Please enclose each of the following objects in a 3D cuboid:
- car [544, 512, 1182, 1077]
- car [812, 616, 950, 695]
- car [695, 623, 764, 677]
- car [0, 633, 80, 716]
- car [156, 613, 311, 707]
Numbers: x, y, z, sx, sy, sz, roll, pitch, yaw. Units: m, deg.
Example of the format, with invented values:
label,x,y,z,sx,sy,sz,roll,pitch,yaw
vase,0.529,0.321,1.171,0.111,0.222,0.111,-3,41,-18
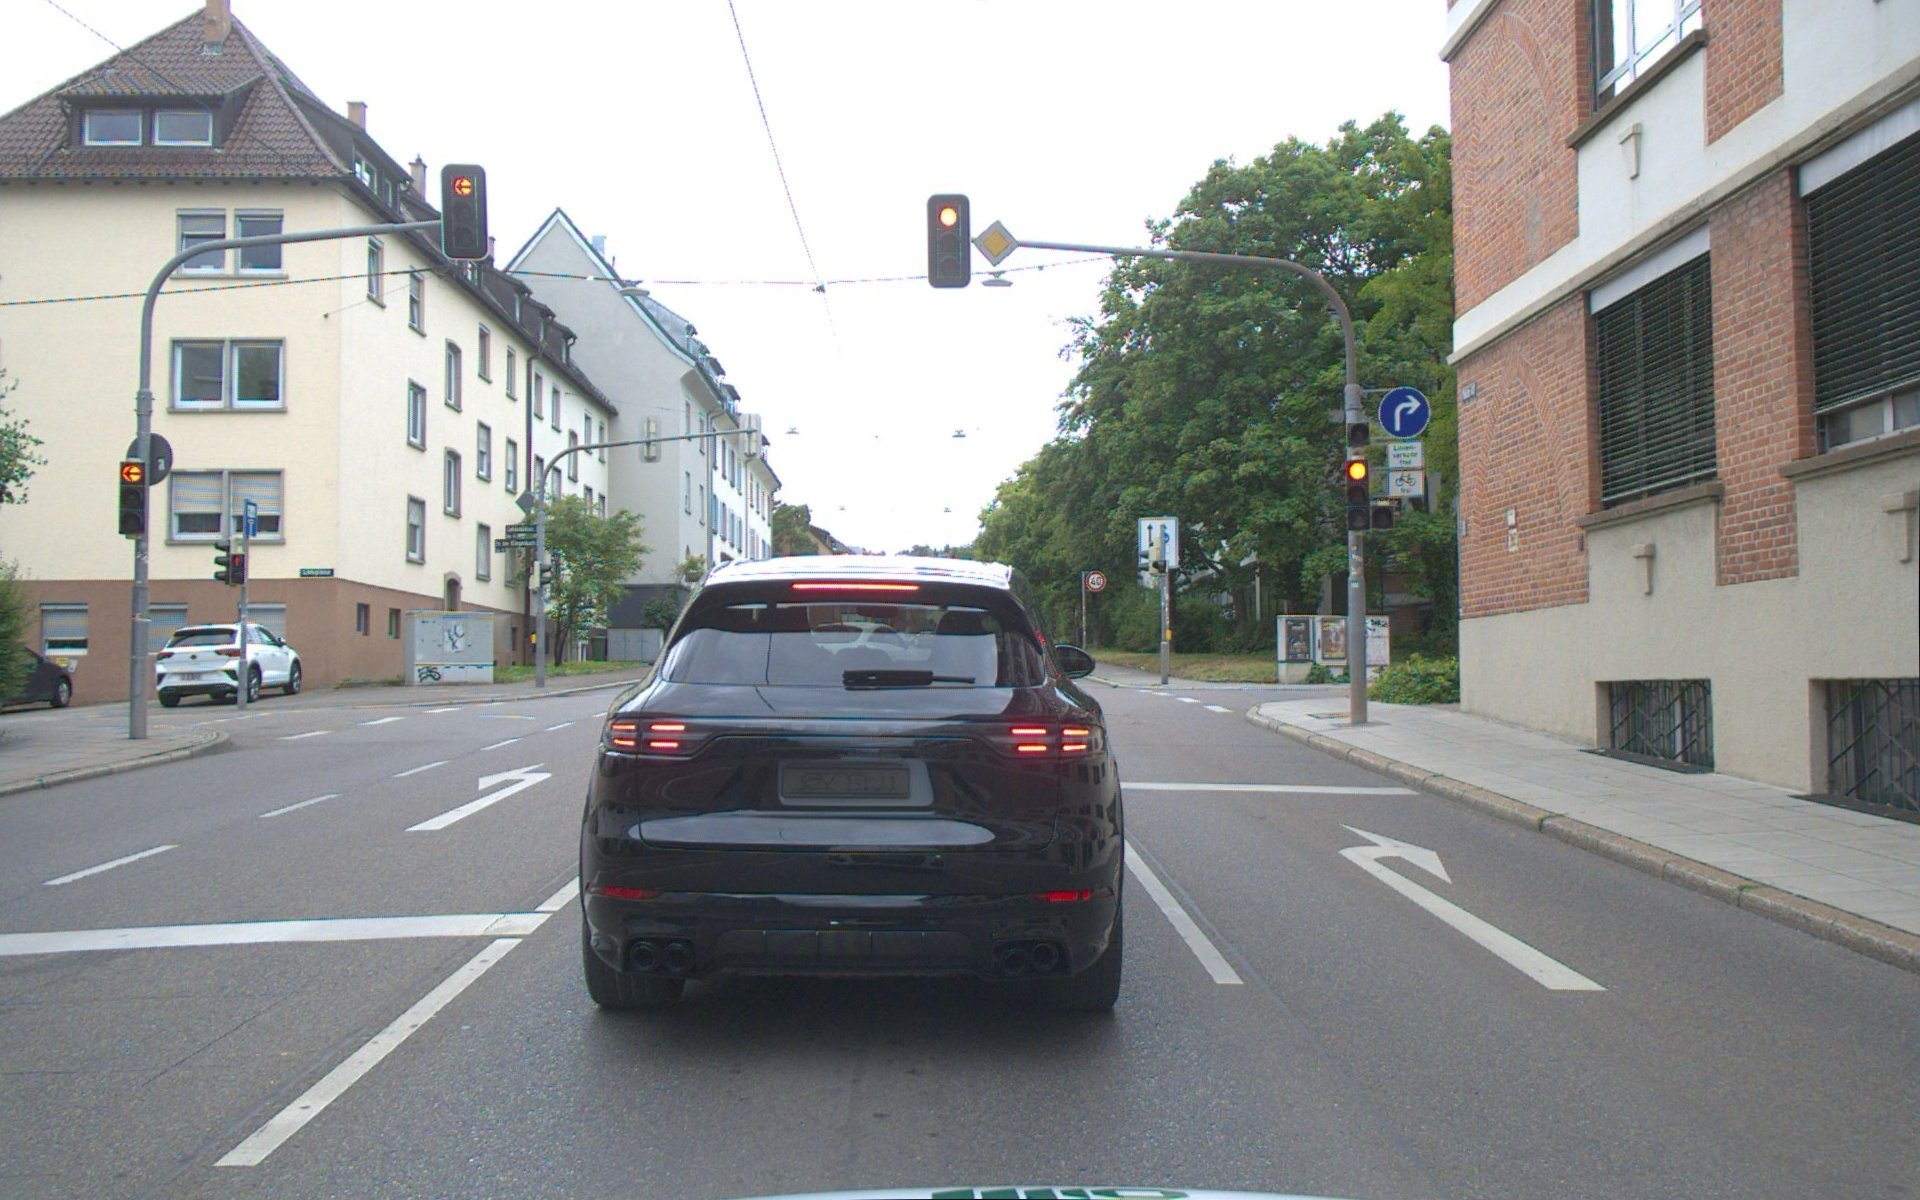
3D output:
label,x,y,z,sx,sy,sz,roll,pitch,yaw
car,-0.323,0.616,7.138,1.953,1.726,3.999,1,0,-1
car,-1.655,1.159,36.080,1.653,1.579,3.890,1,0,19
car,-7.446,1.599,53.741,1.630,1.545,3.739,-4,0,0
car,-19.692,1.538,33.404,1.636,1.573,4.100,-3,0,-1
car,-14.671,1.152,33.632,1.638,1.691,3.995,-3,0,-5
